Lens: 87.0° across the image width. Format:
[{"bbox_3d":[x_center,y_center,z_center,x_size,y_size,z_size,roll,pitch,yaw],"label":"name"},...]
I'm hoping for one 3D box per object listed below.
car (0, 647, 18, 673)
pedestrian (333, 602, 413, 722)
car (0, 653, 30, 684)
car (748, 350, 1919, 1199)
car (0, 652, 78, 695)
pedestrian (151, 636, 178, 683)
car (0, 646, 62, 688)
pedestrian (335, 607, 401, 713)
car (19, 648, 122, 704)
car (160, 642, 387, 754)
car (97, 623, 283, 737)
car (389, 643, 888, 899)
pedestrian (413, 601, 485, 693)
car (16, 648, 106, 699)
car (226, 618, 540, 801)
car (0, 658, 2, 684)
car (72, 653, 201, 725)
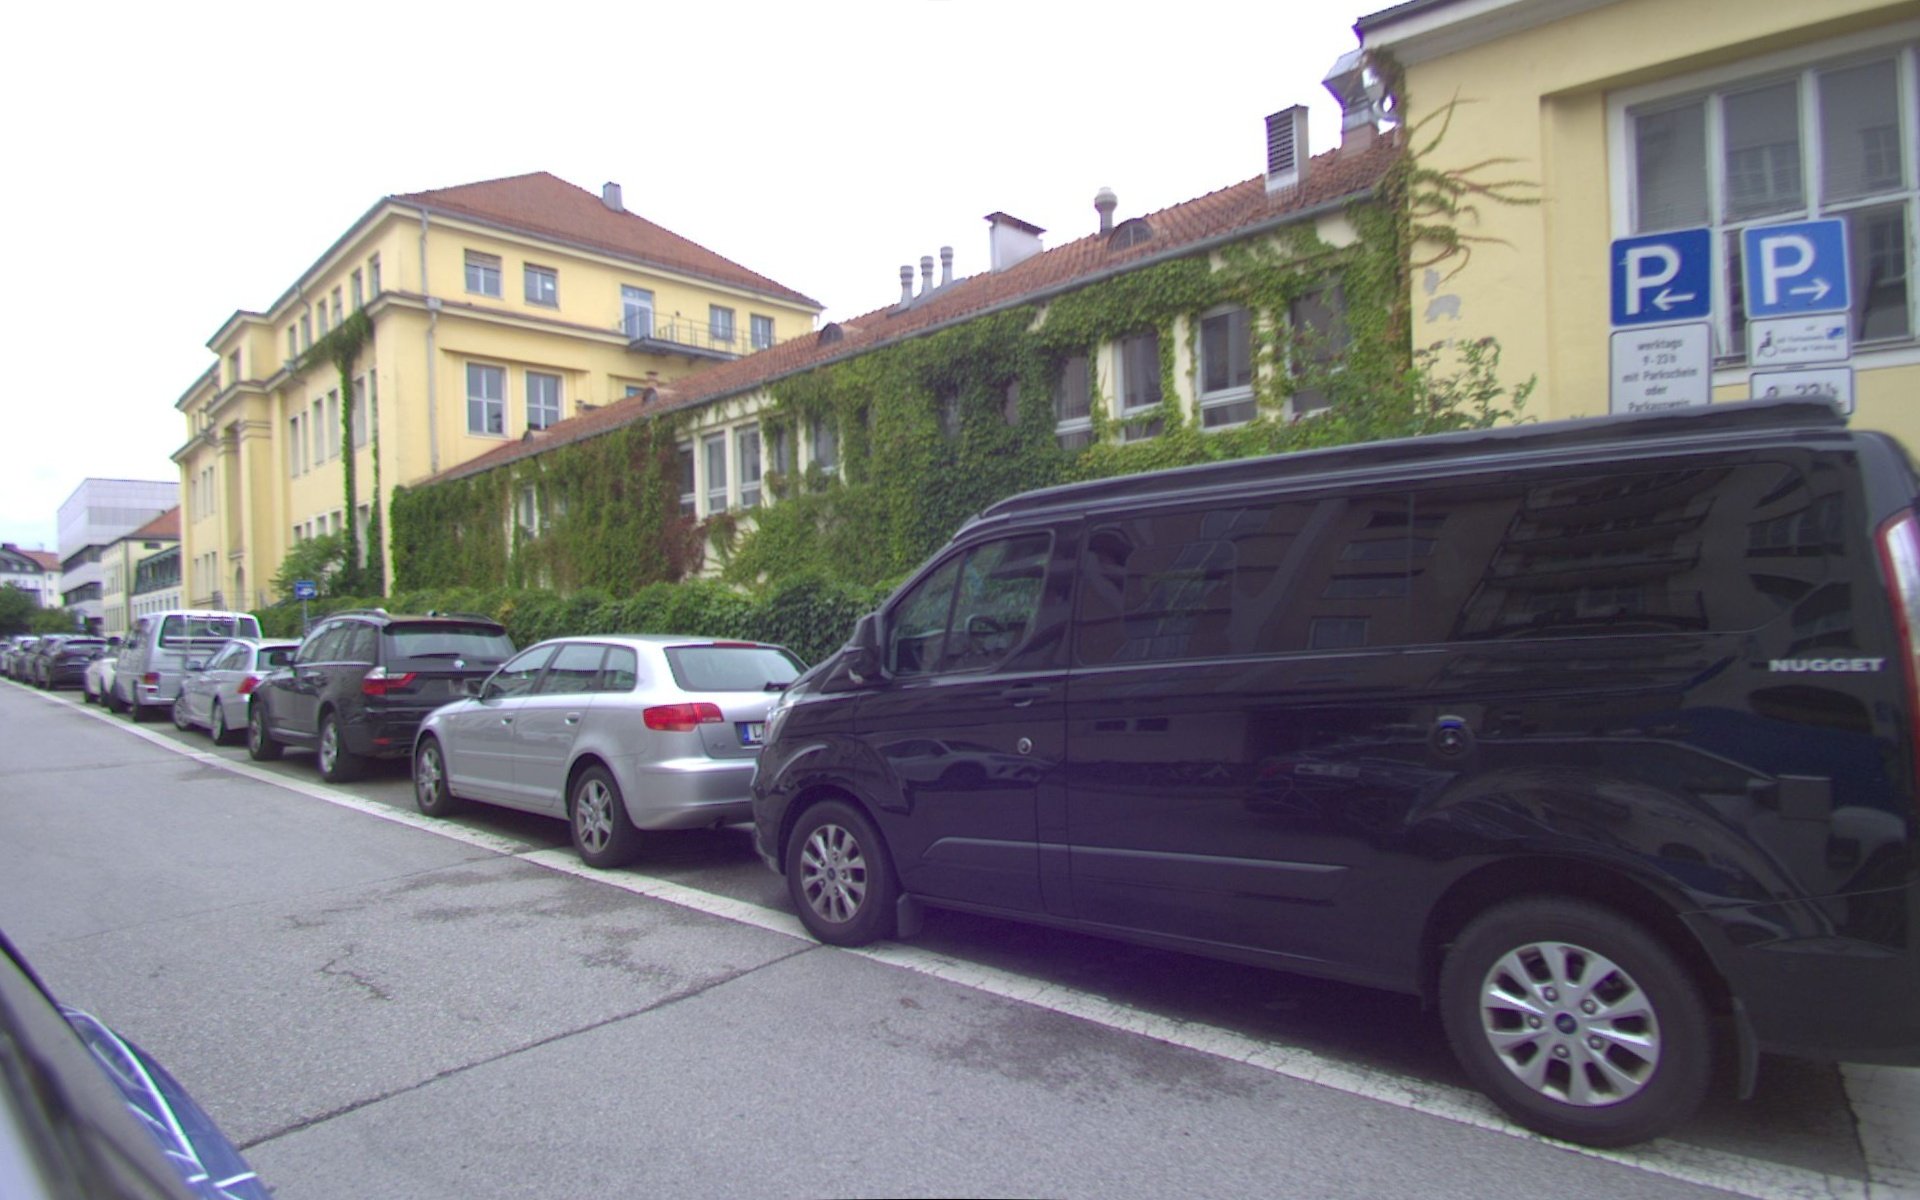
[{"bbox_3d":[-55.385,3.426,57.979,4.021,1.408,1.792,-3,-4,44],"label":"car"},{"bbox_3d":[-9.006,0.929,15.532,0.872,1.768,0.833,-3,-1,44],"label":"pedestrian"},{"bbox_3d":[-46.309,3.277,48.900,3.780,1.450,1.714,-3,-4,44],"label":"car"},{"bbox_3d":[1.379,0.521,4.180,4.616,1.994,1.907,-3,-4,38],"label":"car"},{"bbox_3d":[-33.244,2.614,36.352,4.599,1.419,1.754,-3,-5,42],"label":"car"},{"bbox_3d":[-32.140,2.407,40.891,0.766,1.838,0.782,-1,-2,-43],"label":"pedestrian"},{"bbox_3d":[-38.947,2.783,42.106,4.298,1.653,1.763,-3,-5,41],"label":"car"},{"bbox_3d":[-9.757,0.973,16.678,0.872,1.665,0.675,-3,-1,42],"label":"pedestrian"},{"bbox_3d":[-25.507,2.143,28.973,4.219,1.492,1.698,-3,-5,42],"label":"car"},{"bbox_3d":[-10.105,1.341,14.757,4.492,1.388,1.783,-2,-5,44],"label":"car"},{"bbox_3d":[-14.163,1.419,18.504,4.881,1.812,1.872,-3,-6,44],"label":"car"},{"bbox_3d":[-2.532,1.053,7.469,4.000,1.376,1.688,-3,-5,42],"label":"car"},{"bbox_3d":[-8.724,0.793,17.284,0.872,1.506,0.833,-3,-1,45],"label":"pedestrian"},{"bbox_3d":[-29.036,2.332,32.631,4.273,1.514,1.750,-3,-4,43],"label":"car"},{"bbox_3d":[-6.477,1.080,11.134,4.490,1.619,1.684,-3,-4,43],"label":"car"},{"bbox_3d":[-59.619,4.311,61.562,4.210,1.566,1.749,-3,-4,44],"label":"car"},{"bbox_3d":[-17.987,1.878,22.063,3.558,1.420,1.648,-3,-4,42],"label":"car"}]
